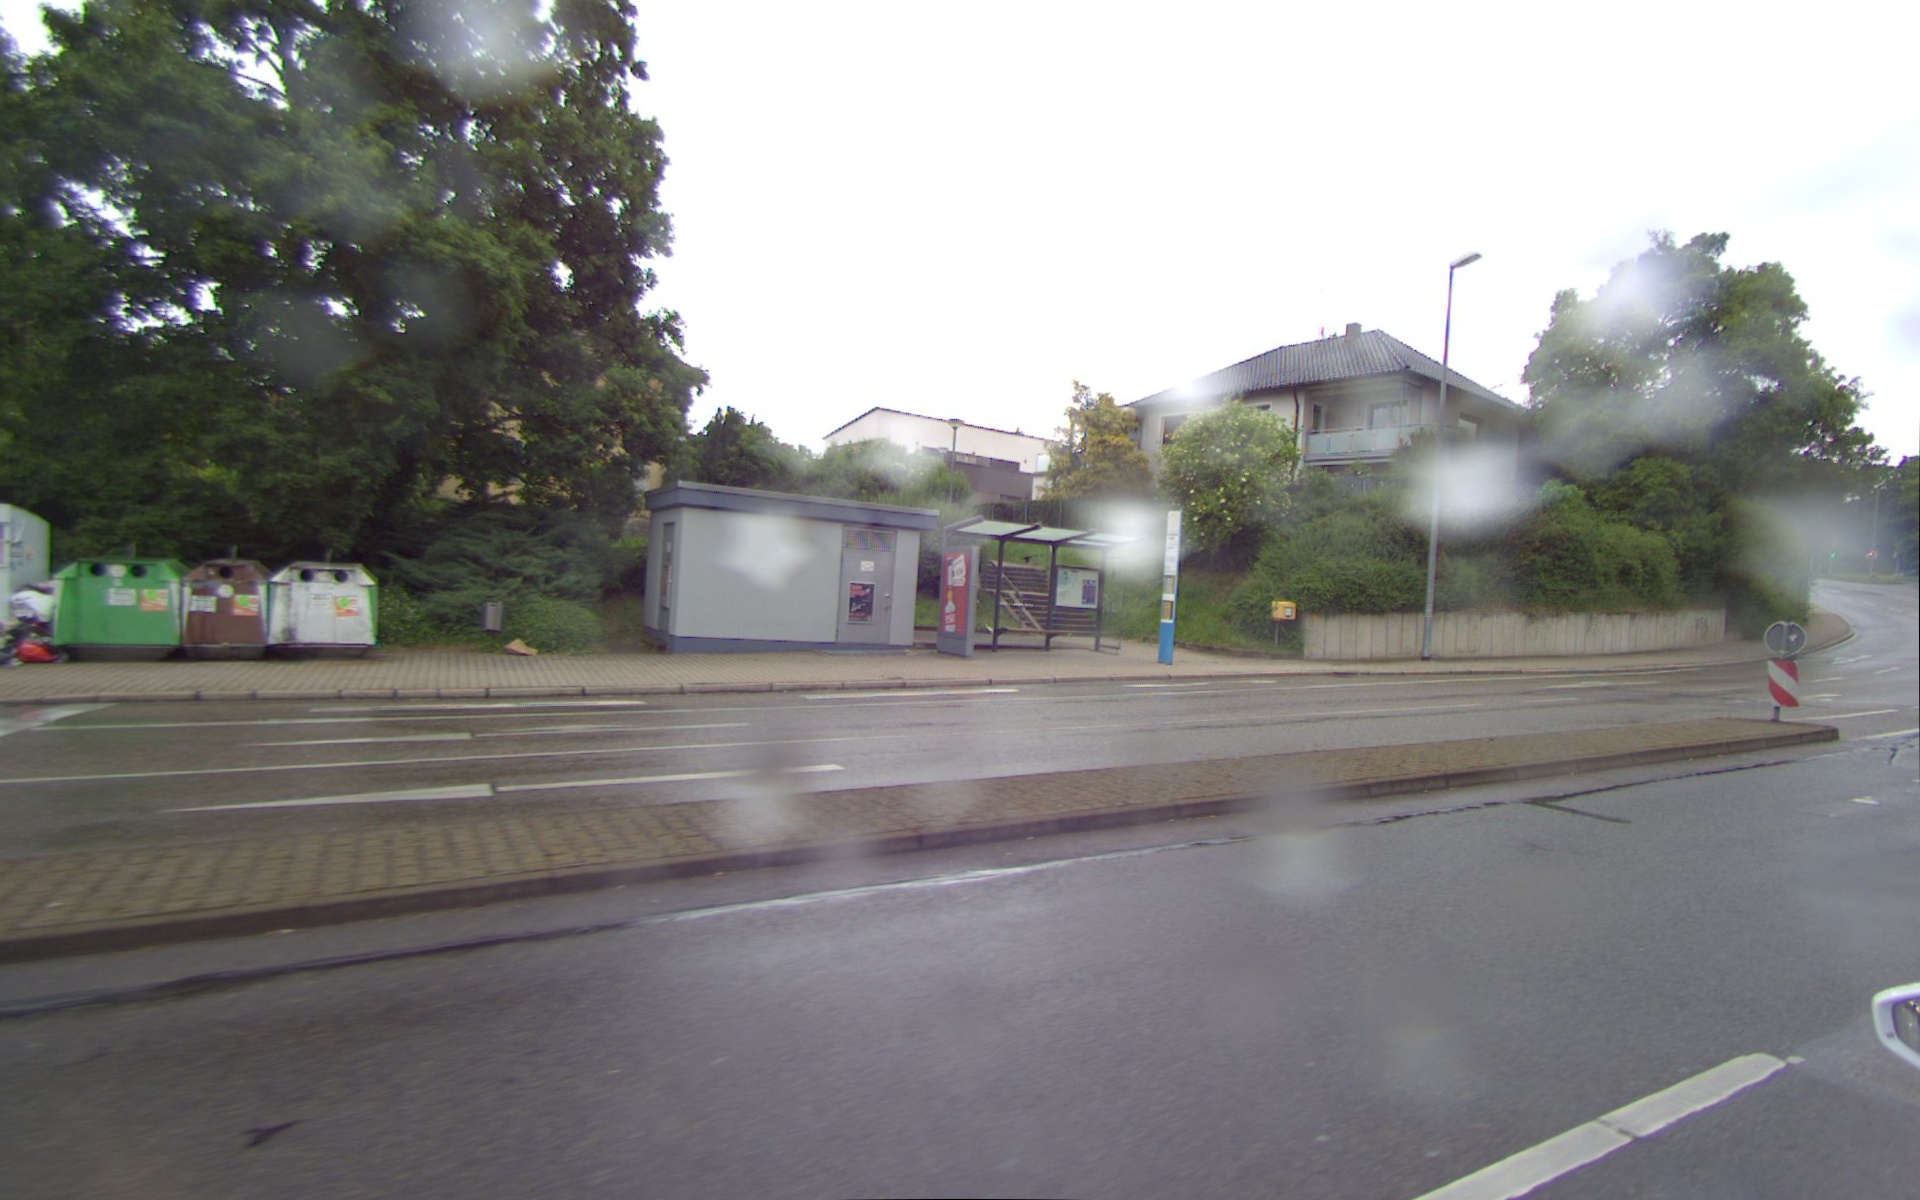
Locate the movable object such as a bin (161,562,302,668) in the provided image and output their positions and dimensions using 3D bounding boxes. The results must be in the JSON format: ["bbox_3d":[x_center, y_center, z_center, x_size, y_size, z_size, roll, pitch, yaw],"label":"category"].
[{"bbox_3d":[-11.756,0.228,16.332,1.562,1.590,2.049,1,0,-28],"label":"movable object such as a bin"}]

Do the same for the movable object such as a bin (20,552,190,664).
[{"bbox_3d":[-13.123,0.115,15.544,1.562,1.590,2.049,1,0,-28],"label":"movable object such as a bin"}]

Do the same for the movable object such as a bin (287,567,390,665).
[{"bbox_3d":[-10.475,0.256,17.036,1.327,1.535,2.049,1,0,-28],"label":"movable object such as a bin"}]
